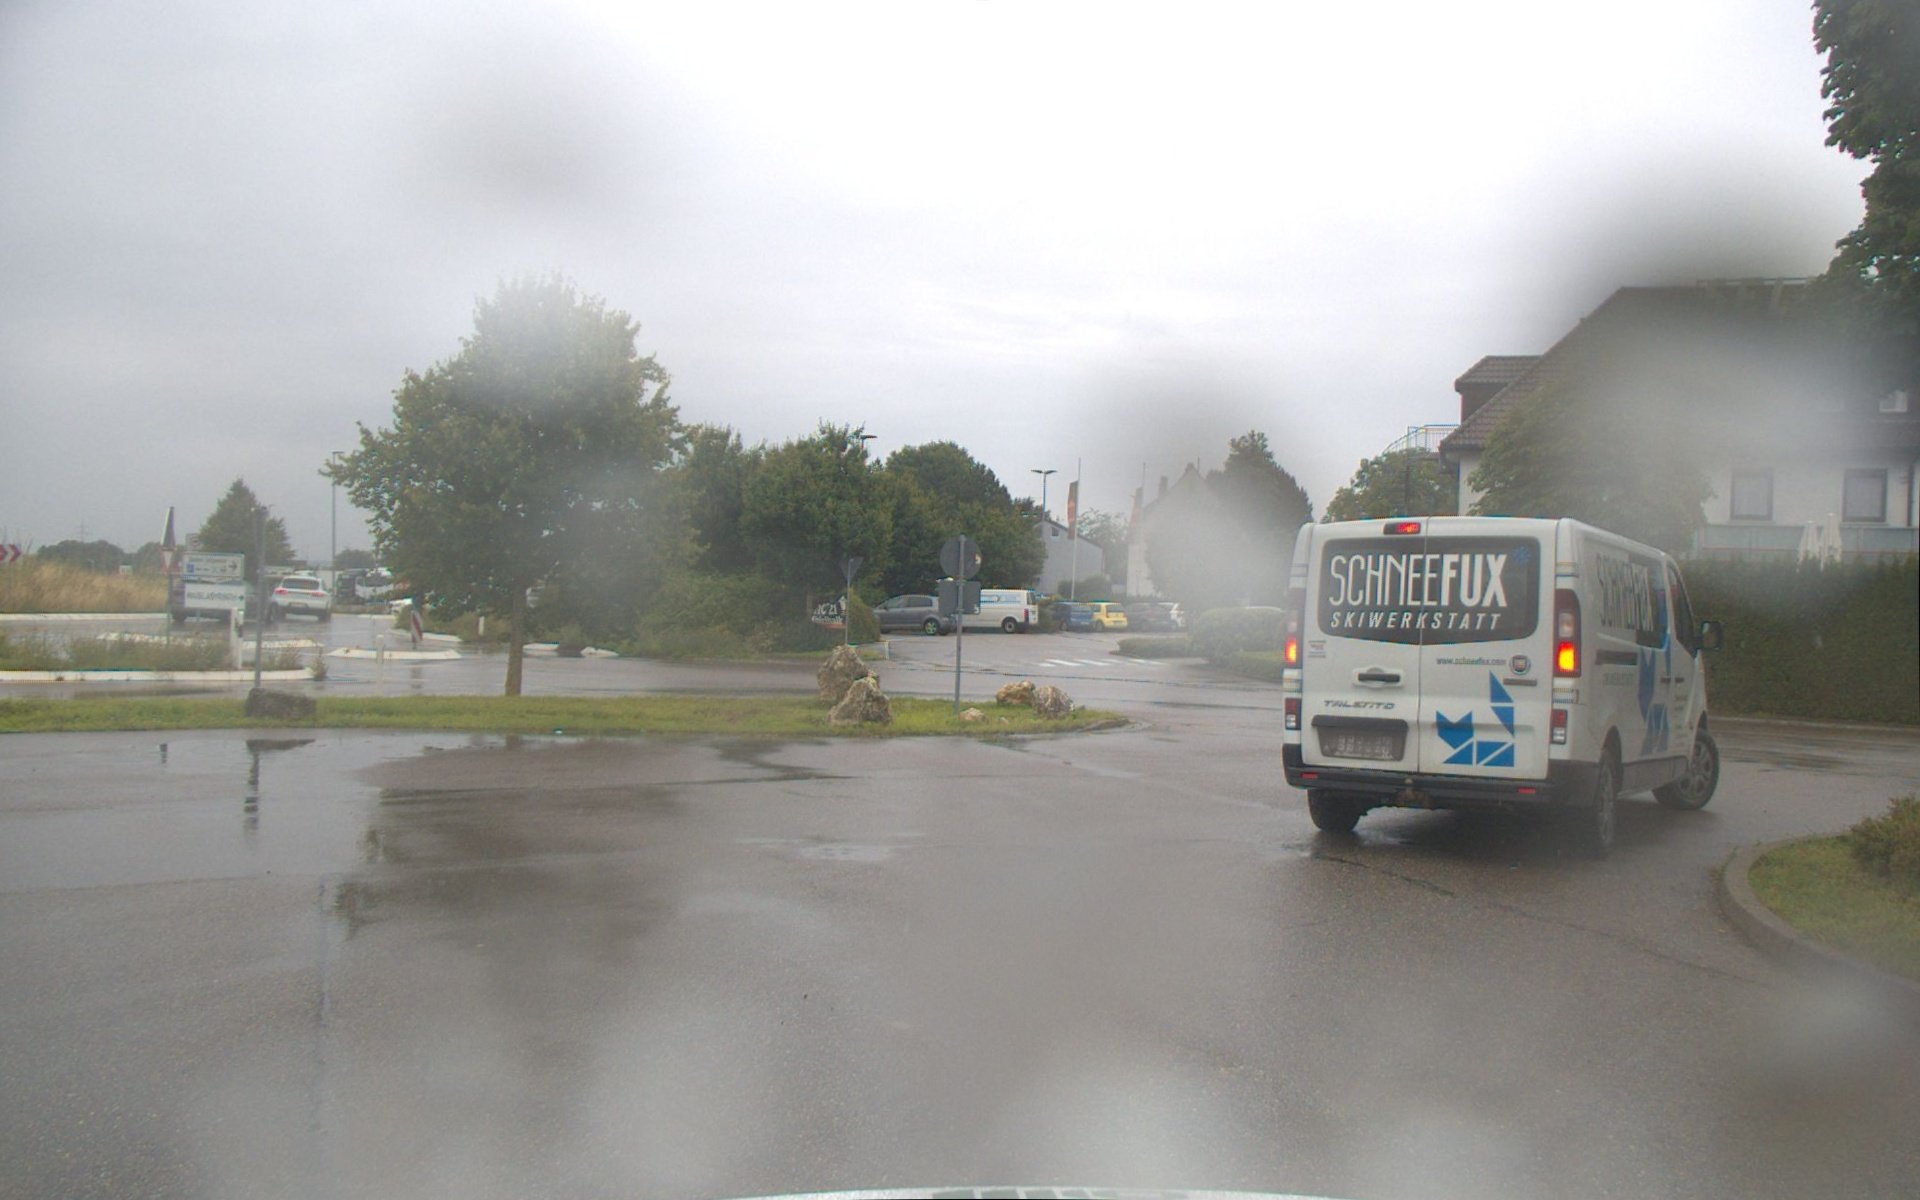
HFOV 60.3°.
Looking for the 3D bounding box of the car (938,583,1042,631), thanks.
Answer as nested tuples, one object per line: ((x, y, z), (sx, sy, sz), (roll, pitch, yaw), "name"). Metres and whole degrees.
((1.378, 0.307, 75.696), (4.425, 2.069, 1.646), (1, 0, 18), "car")

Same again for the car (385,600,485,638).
((-25.378, 0.911, 80.024), (4.329, 1.789, 1.722), (1, -1, -42), "car")

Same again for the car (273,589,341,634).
((-24.349, 0.410, 61.766), (1.659, 1.612, 4.372), (1, 0, -13), "car")

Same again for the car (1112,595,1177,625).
((9.522, 0.520, 85.385), (1.562, 1.483, 3.646), (1, 0, -28), "car")

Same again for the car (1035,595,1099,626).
((5.305, 0.491, 82.375), (1.533, 1.483, 3.646), (1, 0, -28), "car")

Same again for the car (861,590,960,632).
((-1.987, 0.436, 66.367), (3.653, 1.578, 1.451), (1, 0, 18), "car")

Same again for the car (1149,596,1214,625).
((11.577, 0.538, 86.515), (1.562, 1.483, 3.646), (1, 0, -28), "car")

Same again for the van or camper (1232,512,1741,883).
((3.950, 0.517, 11.627), (2.148, 1.979, 5.184), (2, 0, 32), "van or camper")

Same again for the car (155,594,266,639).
((-23.684, 0.490, 52.417), (1.653, 1.349, 4.044), (1, 0, 1), "car")

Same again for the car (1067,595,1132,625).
((7.077, 0.502, 84.321), (1.562, 1.483, 3.646), (1, 0, -28), "car")
